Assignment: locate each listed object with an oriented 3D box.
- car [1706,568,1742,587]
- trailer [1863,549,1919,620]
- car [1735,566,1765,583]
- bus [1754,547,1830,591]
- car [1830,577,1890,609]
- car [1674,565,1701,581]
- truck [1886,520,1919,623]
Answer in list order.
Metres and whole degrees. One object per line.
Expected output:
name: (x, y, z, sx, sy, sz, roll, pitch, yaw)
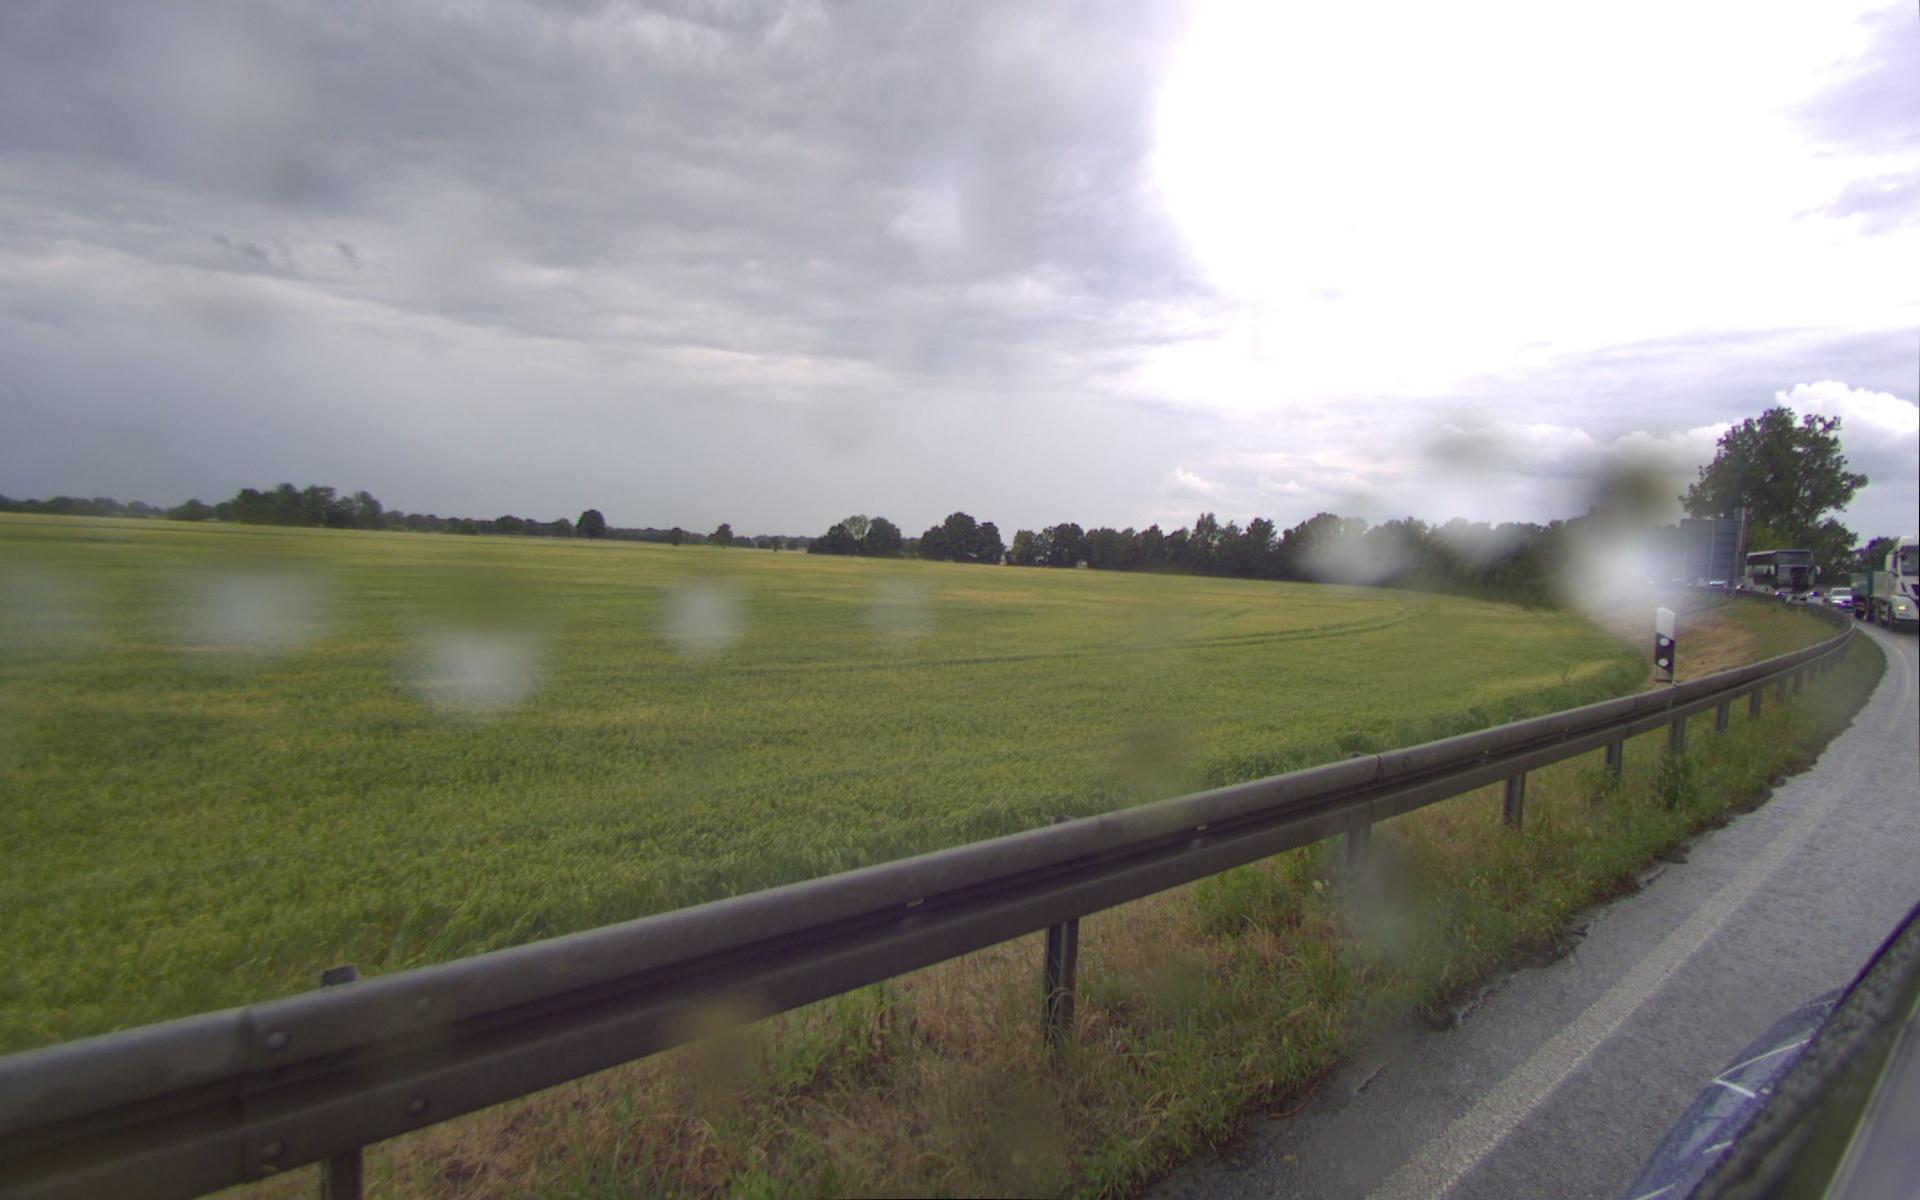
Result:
car: (84.434, -2.485, 111.877, 1.978, 2.039, 5.292, 0, 1, 24)
trailer: (41.799, -0.695, 43.999, 2.971, 2.666, 15.462, 0, 1, 39)
car: (77.524, -2.478, 99.311, 1.800, 1.597, 3.956, 0, 1, 31)
bus: (68.078, -2.544, 83.127, 2.943, 3.353, 14.670, 0, 2, 32)
car: (53.355, -0.444, 60.087, 2.030, 1.866, 5.268, 0, 1, 35)
car: (93.825, -3.464, 130.605, 1.977, 2.039, 4.199, 0, 1, 23)
truck: (36.506, -1.045, 37.396, 2.971, 3.655, 5.995, 0, 1, 39)
